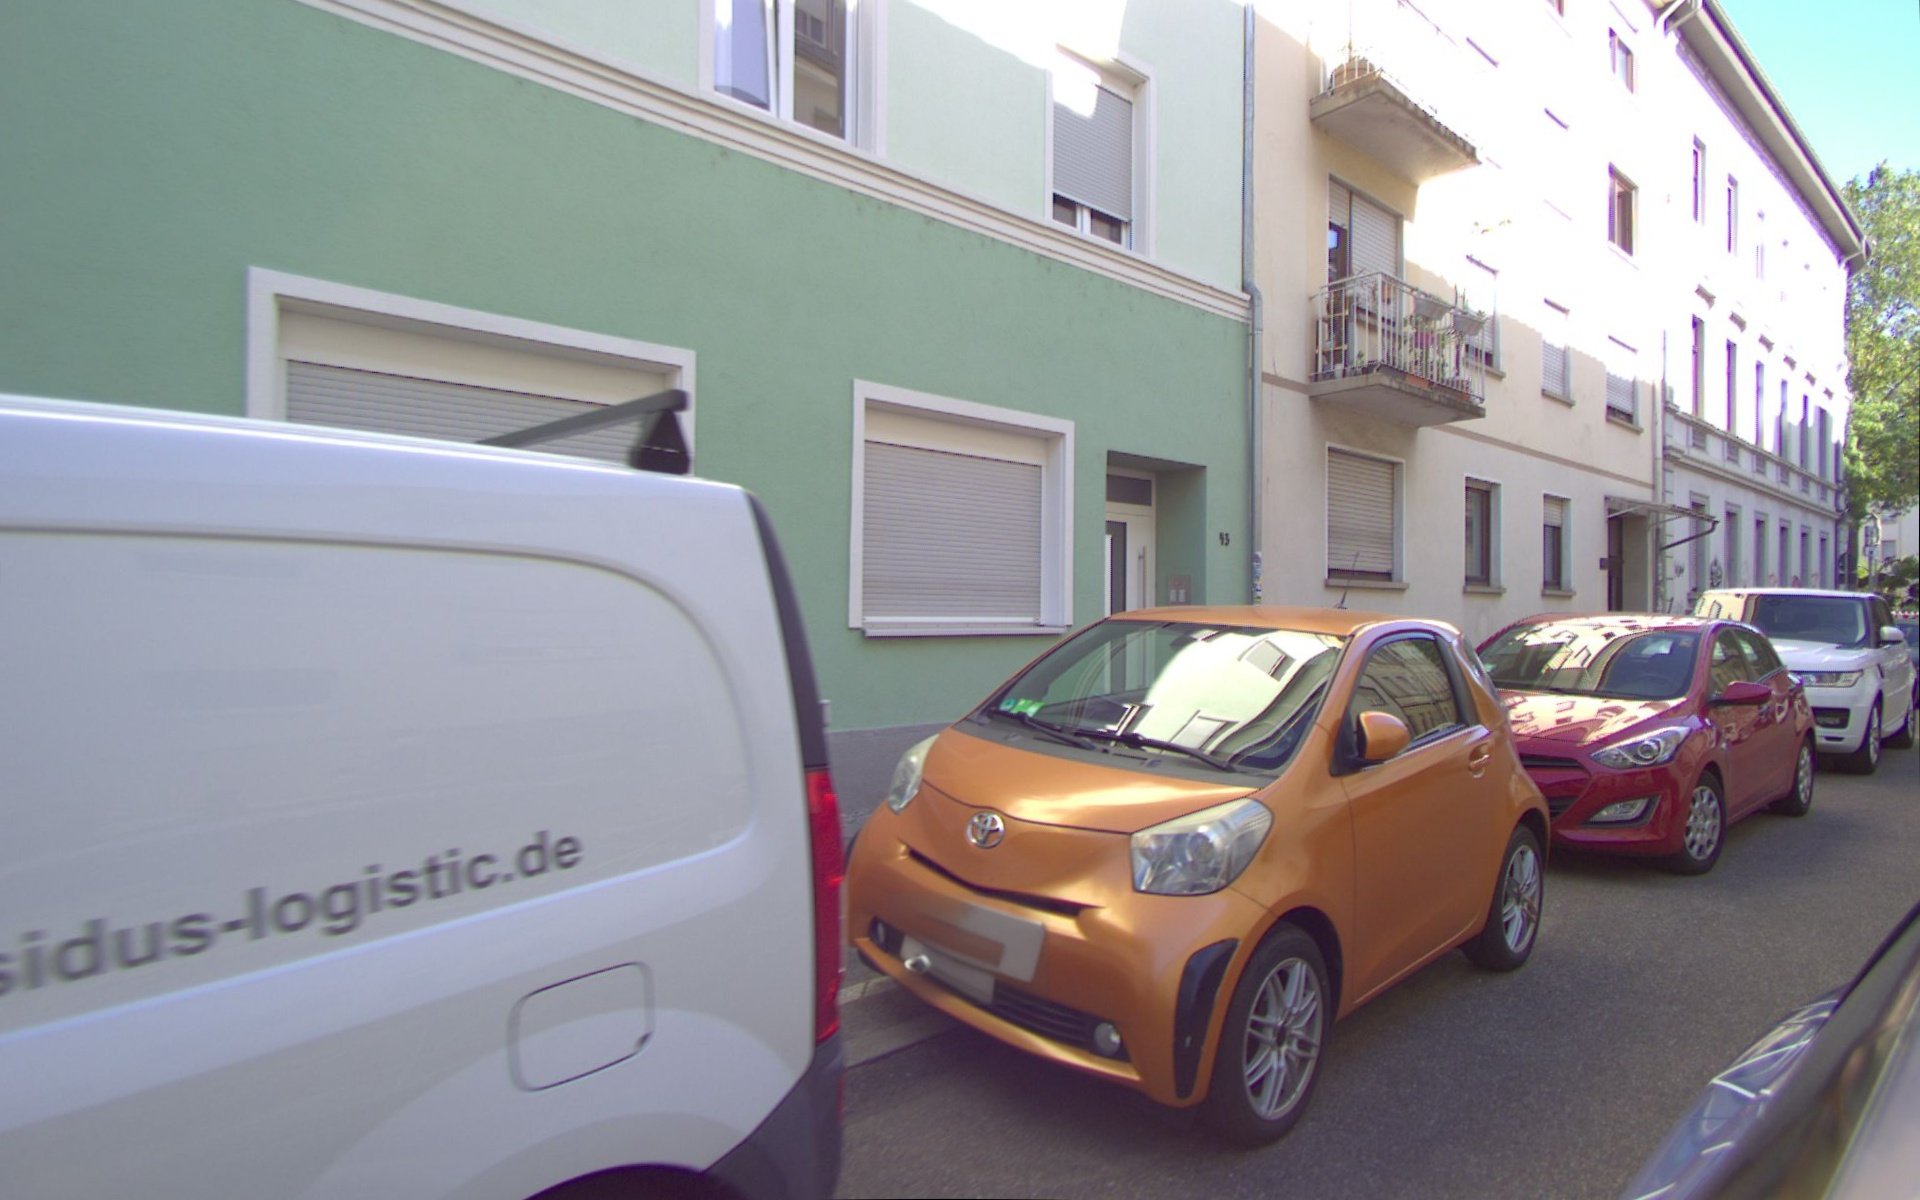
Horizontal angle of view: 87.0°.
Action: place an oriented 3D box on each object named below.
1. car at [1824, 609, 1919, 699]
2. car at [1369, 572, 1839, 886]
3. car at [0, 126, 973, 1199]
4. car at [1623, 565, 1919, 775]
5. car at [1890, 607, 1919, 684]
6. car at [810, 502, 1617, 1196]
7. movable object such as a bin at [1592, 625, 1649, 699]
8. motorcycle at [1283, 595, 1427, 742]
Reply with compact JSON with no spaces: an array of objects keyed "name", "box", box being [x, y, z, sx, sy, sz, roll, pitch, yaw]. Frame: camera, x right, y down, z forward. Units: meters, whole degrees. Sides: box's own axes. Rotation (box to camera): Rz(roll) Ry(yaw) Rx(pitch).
[{"name":"car","box":[16.885,0.920,17.979,3.801,1.467,1.749,1,-3,-41]},{"name":"car","box":[4.667,0.674,7.098,3.961,1.589,1.745,1,-1,-41]},{"name":"car","box":[-2.145,0.512,1.162,4.261,1.986,1.784,0,0,-42]},{"name":"car","box":[9.195,0.635,11.083,4.851,1.806,2.009,1,-1,-41]},{"name":"car","box":[21.335,0.933,21.463,4.644,1.539,1.817,1,-3,-41]},{"name":"car","box":[1.318,0.620,4.256,3.619,1.653,1.581,1,-2,-43]},{"name":"movable object such as a bin","box":[10.088,0.934,15.463,0.542,1.084,0.579,1,0,-37]},{"name":"motorcycle","box":[3.836,0.612,9.792,1.476,1.295,0.658,1,1,-41]}]
